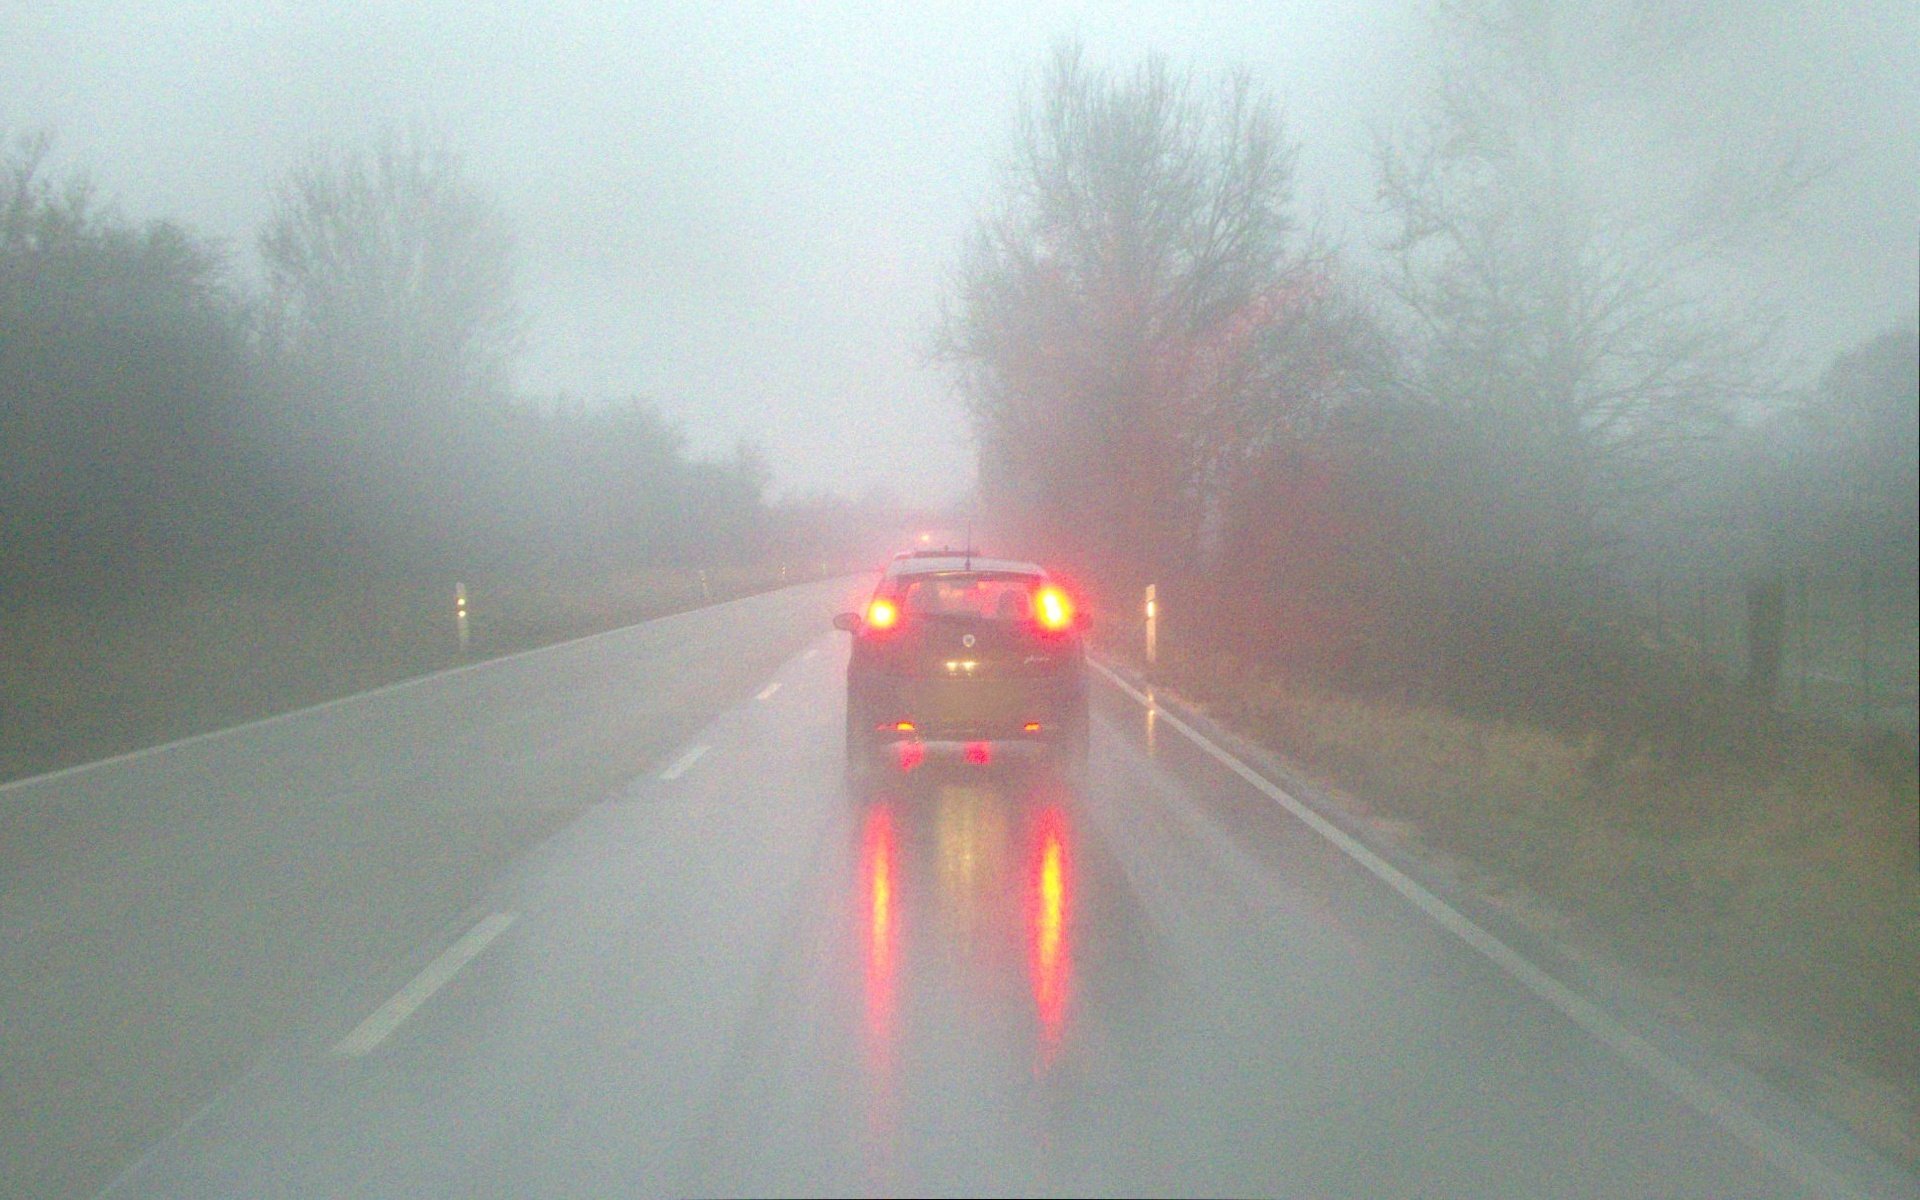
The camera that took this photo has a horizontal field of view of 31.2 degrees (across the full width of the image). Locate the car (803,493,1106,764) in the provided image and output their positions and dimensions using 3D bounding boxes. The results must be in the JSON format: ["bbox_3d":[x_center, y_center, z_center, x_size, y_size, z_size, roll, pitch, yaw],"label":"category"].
[{"bbox_3d":[-0.003,0.151,24.943,1.993,1.778,4.000,1,1,1],"label":"car"}]

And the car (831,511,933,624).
[{"bbox_3d":[-1.324,-0.575,59.600,1.574,1.868,3.709,1,1,1],"label":"car"}]

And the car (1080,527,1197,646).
[{"bbox_3d":[2.502,-0.217,48.449,1.564,1.586,3.488,1,1,2],"label":"car"}]
